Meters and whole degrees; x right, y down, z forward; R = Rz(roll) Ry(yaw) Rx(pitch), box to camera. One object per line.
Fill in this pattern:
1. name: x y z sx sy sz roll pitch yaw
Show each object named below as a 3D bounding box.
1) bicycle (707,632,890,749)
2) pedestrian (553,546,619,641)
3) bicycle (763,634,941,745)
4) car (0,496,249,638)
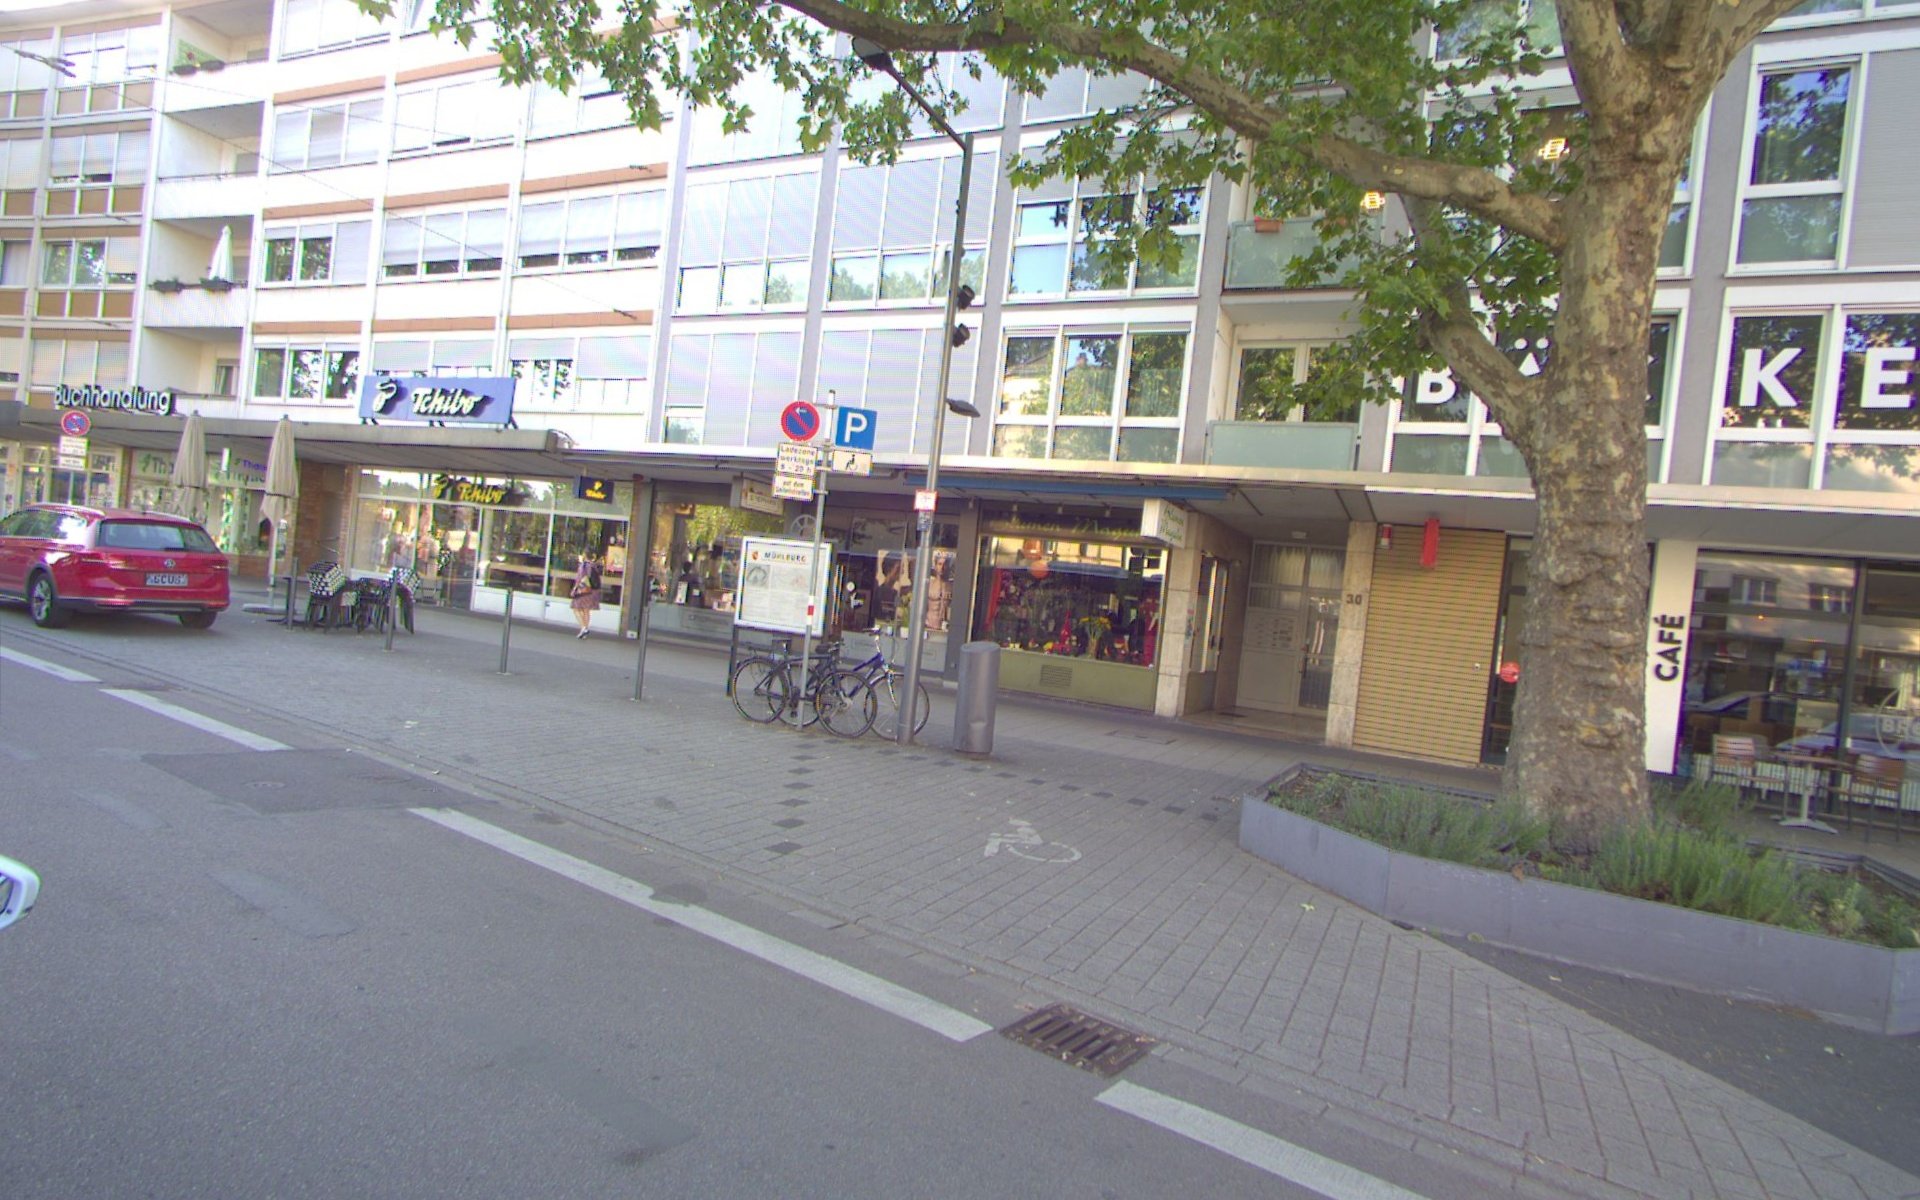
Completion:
1. bicycle: -1.641 0.897 10.240 1.743 0.951 0.391 6 2 12
2. pedestrian: -6.716 -0.116 18.072 0.776 1.613 0.651 7 3 26
3. bicycle: -1.133 0.919 10.556 1.743 0.931 0.391 6 2 12
4. car: -11.663 -0.497 13.446 4.229 1.502 1.772 6 1 28
